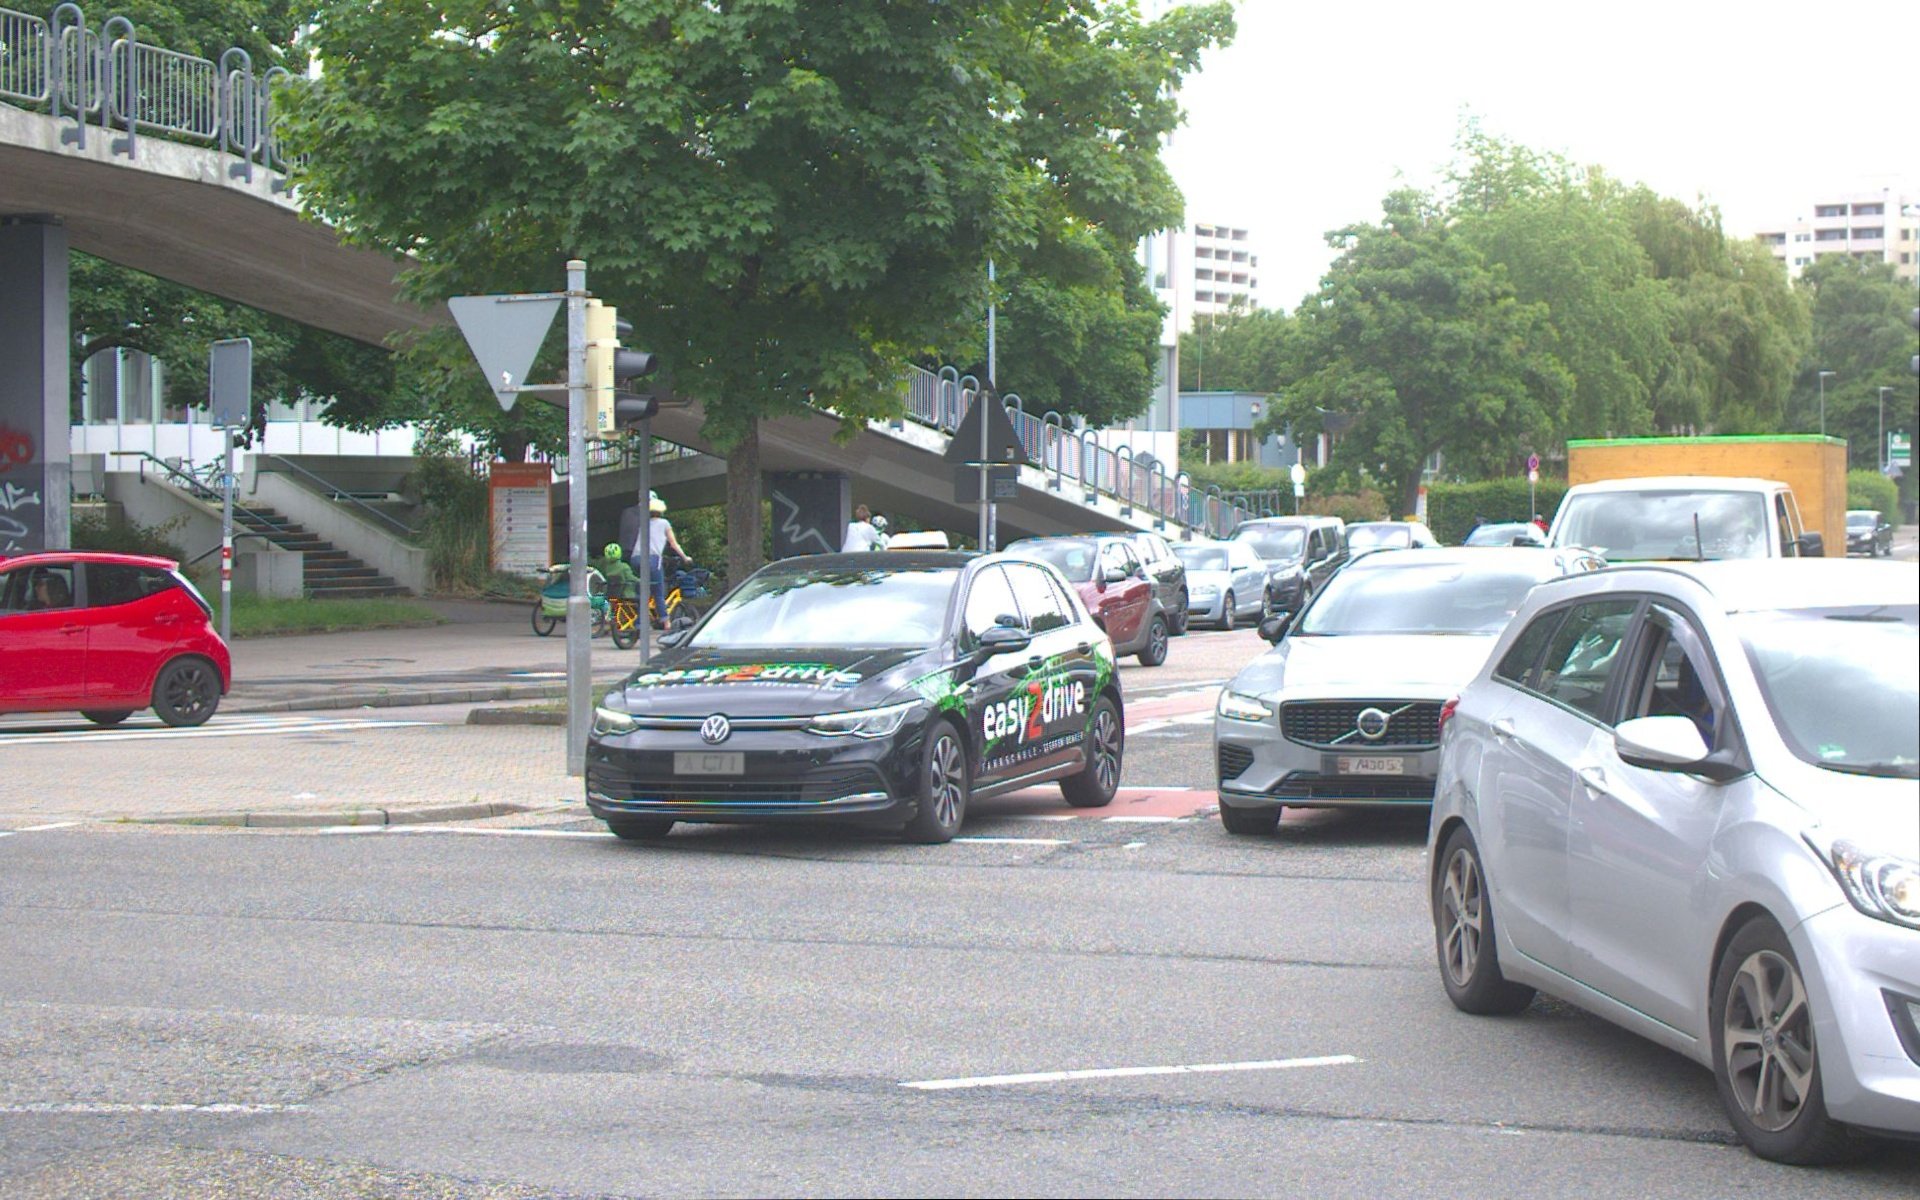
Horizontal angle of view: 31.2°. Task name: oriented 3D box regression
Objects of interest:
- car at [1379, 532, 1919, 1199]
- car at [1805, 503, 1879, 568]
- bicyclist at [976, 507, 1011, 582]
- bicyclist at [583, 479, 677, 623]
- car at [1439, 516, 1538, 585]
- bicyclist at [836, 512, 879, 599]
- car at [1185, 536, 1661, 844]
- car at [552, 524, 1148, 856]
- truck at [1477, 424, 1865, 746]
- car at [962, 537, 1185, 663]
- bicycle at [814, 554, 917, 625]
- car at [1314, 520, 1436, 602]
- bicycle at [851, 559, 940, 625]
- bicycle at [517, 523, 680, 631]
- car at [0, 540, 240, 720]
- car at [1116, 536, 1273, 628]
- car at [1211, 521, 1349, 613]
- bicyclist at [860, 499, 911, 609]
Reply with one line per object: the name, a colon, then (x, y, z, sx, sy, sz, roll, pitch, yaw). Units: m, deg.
car: (2.627, 0.591, 9.575, 1.788, 1.514, 4.327, 0, 2, -9)
car: (28.015, -2.061, 109.104, 1.995, 2.007, 3.997, 1, 1, 18)
bicyclist: (0.552, -0.916, 56.560, 0.431, 1.213, 0.567, 1, 1, 16)
bicyclist: (-4.414, -0.671, 46.072, 0.857, 1.886, 1.126, 1, 2, 19)
car: (12.389, -1.187, 80.479, 1.673, 1.546, 3.997, 1, 2, 18)
bicyclist: (-1.429, -0.622, 47.872, 0.405, 1.177, 0.377, 6, 4, 19)
car: (2.631, 0.433, 18.484, 1.898, 1.415, 4.732, 1, 0, 15)
car: (-0.418, 0.356, 17.976, 1.771, 1.472, 4.386, 1, 2, 17)
truck: (5.608, -0.203, 26.476, 2.157, 2.191, 5.835, 1, 2, 19)
car: (1.334, -0.028, 39.364, 1.560, 1.341, 2.969, 1, 2, 24)
bicycle: (-1.309, -0.160, 48.085, 0.763, 0.946, 1.951, 1, 2, 20)
car: (8.252, -0.793, 68.083, 1.673, 1.546, 3.997, 1, 2, 18)
bicycle: (-0.970, -0.132, 51.799, 0.527, 0.946, 1.706, 1, 2, 30)
bicycle: (-4.746, -0.325, 45.491, 0.857, 1.310, 3.227, 1, 3, 19)
car: (-7.697, 0.222, 27.441, 3.522, 1.385, 1.516, -1, 1, -40)
car: (3.876, -0.324, 56.305, 1.673, 1.382, 3.892, 1, 2, 18)
car: (5.730, -0.619, 61.296, 1.673, 1.546, 3.759, 1, 2, 18)
bicyclist: (-1.119, -0.694, 51.690, 0.566, 1.639, 0.530, 1, 1, 33)
